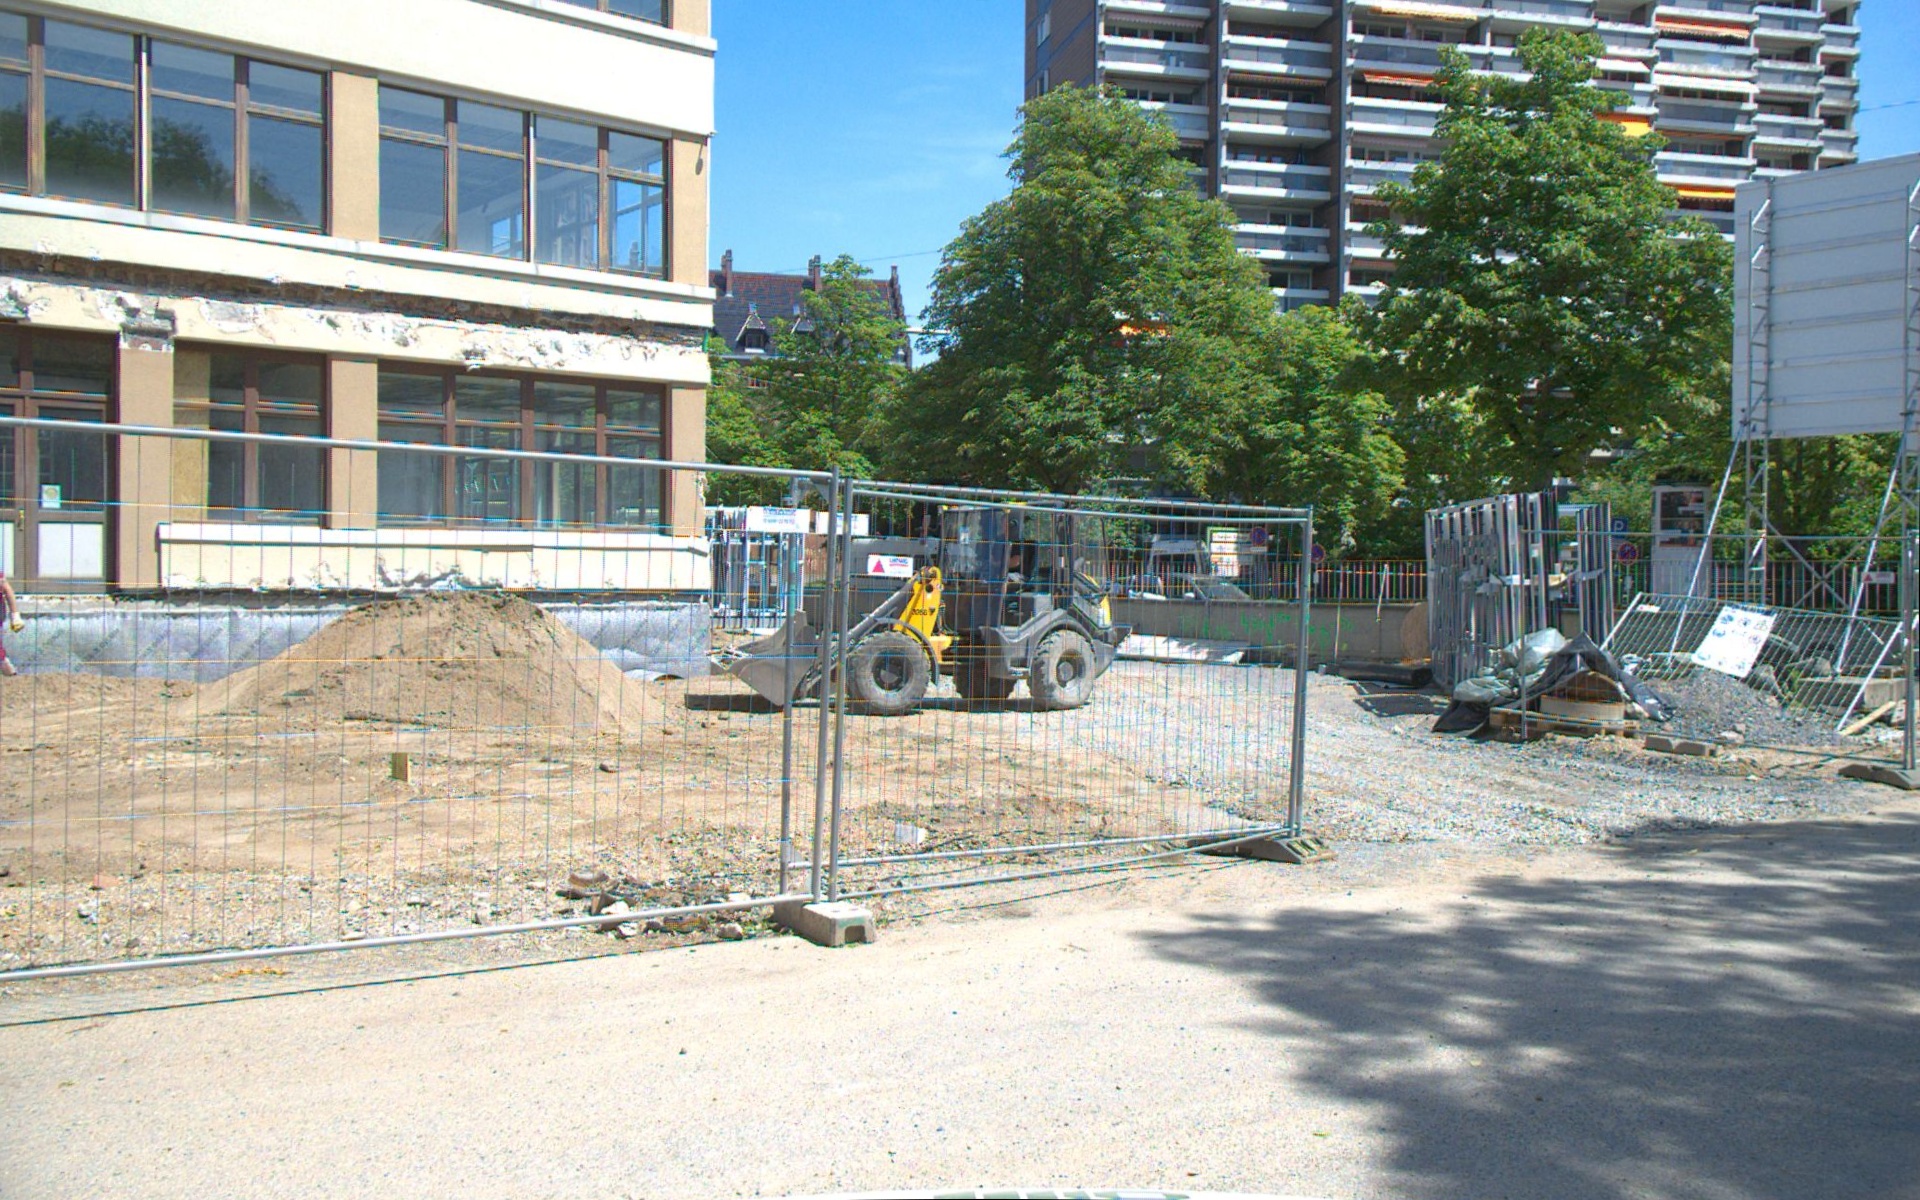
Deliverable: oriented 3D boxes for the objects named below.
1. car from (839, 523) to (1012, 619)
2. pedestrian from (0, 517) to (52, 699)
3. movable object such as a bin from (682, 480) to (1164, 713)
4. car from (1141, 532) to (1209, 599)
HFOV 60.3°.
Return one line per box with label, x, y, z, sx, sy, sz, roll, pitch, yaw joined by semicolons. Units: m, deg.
car;-1.015;-0.777;45.047;1.981;2.458;5.168;0;1;-40
pedestrian;-10.287;0.078;17.443;0.899;1.879;0.982;0;0;37
movable object such as a bin;-0.467;-0.049;19.865;5.325;2.507;2.354;0;1;-21
car;7.719;-1.203;58.981;2.137;2.297;4.873;0;1;10
